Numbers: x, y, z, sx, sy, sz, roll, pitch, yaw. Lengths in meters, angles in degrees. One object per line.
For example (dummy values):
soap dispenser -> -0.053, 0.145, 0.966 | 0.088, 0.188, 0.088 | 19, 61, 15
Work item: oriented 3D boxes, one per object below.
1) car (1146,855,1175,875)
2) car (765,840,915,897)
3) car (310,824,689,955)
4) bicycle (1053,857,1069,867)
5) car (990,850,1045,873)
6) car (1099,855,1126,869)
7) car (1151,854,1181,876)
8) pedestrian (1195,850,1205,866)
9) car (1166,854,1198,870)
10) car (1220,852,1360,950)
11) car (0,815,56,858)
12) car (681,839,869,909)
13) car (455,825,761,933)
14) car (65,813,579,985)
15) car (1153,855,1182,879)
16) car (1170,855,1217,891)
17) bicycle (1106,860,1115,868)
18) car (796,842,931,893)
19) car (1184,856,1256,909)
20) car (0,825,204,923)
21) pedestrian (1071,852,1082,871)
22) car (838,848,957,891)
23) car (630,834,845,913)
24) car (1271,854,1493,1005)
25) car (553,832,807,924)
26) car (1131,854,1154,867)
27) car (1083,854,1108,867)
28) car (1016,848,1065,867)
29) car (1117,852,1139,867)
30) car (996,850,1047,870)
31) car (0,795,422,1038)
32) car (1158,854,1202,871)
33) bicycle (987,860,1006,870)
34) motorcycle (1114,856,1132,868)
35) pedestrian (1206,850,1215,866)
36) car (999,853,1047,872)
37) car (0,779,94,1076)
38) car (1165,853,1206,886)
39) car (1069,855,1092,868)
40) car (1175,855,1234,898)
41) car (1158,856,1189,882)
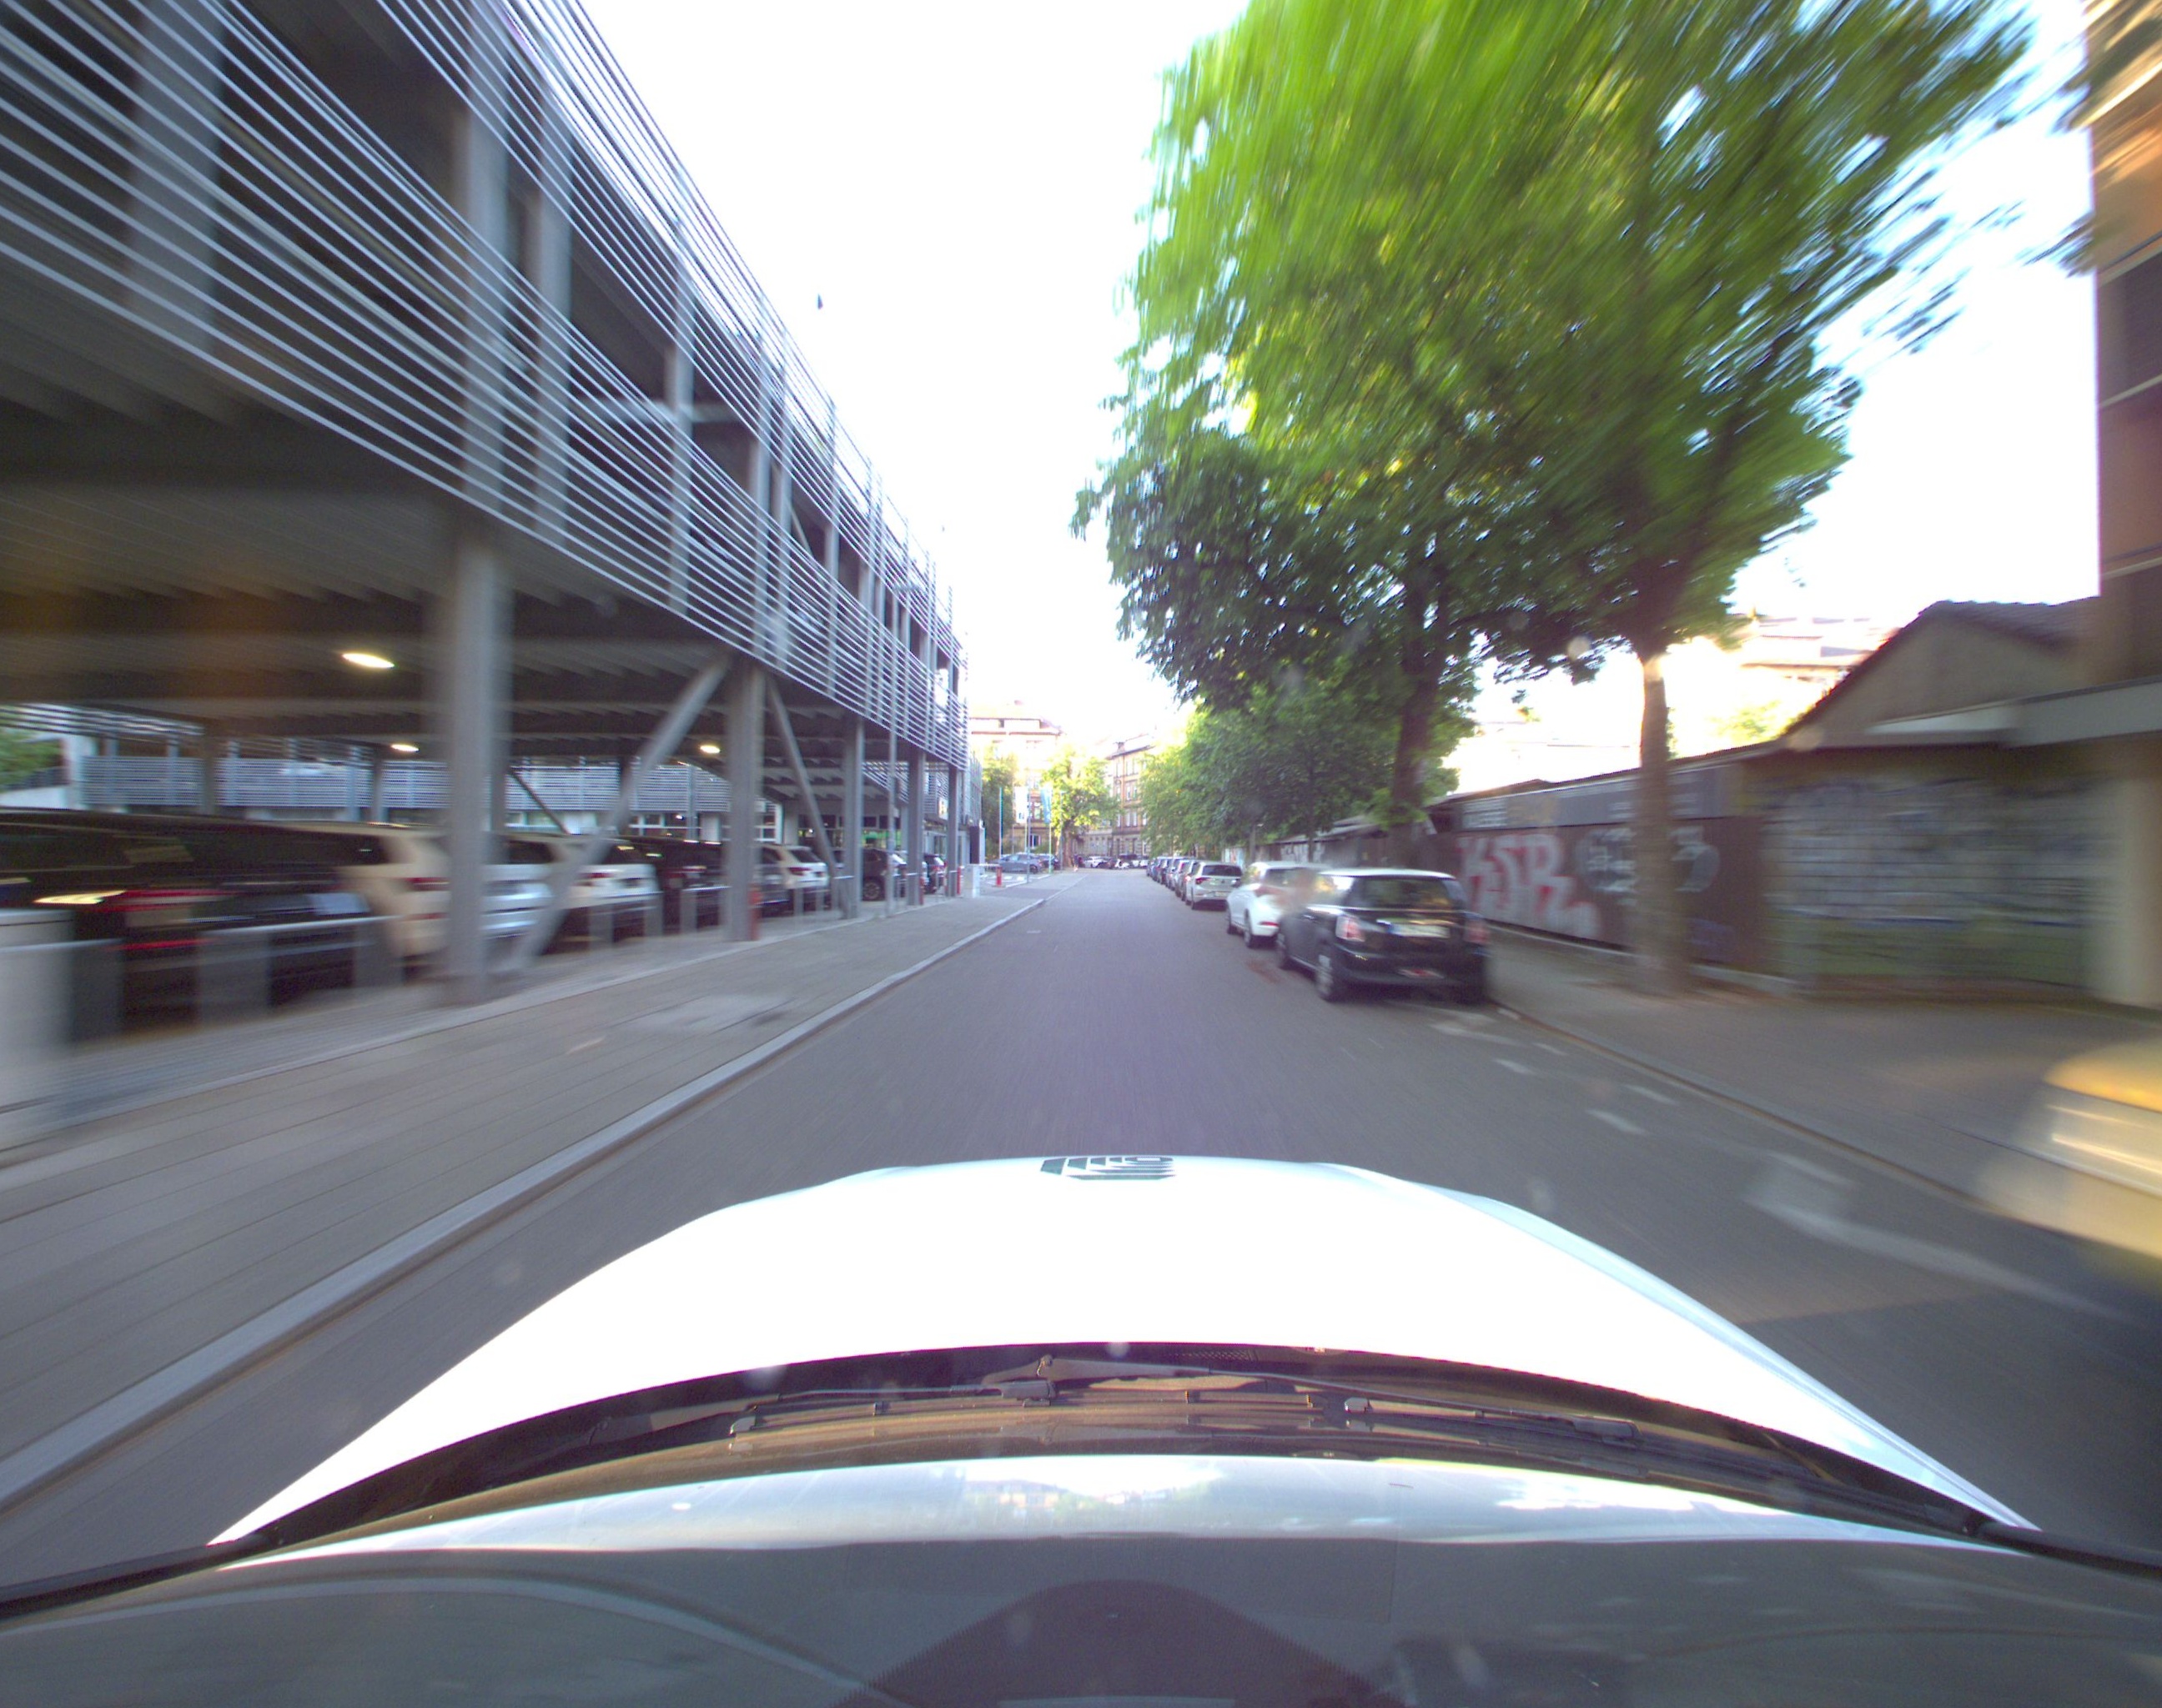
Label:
car -> 6.035, 0.851, 62.317 | 1.690, 1.477, 4.209 | 0, 0, -2
car -> -7.469, 0.421, 25.485 | 4.069, 1.684, 1.862 | 0, 1, 3
car -> -8.040, 0.440, 11.525 | 4.066, 1.684, 1.862 | 0, 1, 3
bicycle -> -2.094, 0.839, 85.546 | 1.678, 1.028, 0.442 | 0, 1, -22
car -> -4.978, 0.573, 64.138 | 4.115, 1.618, 1.913 | 2, 1, 0
car -> 3.640, 0.930, 94.103 | 1.661, 1.431, 3.962 | 1, 1, -21
car -> 6.023, 0.767, 57.905 | 1.690, 1.477, 3.558 | 0, 0, -1
pedestrian -> 13.609, 0.411, 93.268 | 0.842, 1.804, 0.771 | 0, 1, -18
car -> 11.123, 0.876, 90.290 | 1.921, 1.525, 3.869 | 1, 1, -21
car -> 3.703, 0.744, 15.100 | 1.715, 1.519, 4.028 | 0, 1, 2
car -> -40.721, -0.660, 29.235 | 2.290, 1.574, 4.386 | 1, 0, -1
car -> -7.704, 0.466, 20.777 | 4.047, 1.684, 1.862 | 0, 1, 3
car -> -7.829, 0.369, 13.752 | 4.085, 1.684, 1.862 | 0, 1, 3
car -> -8.122, 0.420, 8.993 | 4.008, 1.684, 1.862 | 0, 1, 3
car -> 5.615, 0.828, 53.167 | 1.688, 1.477, 4.120 | 0, 0, 3
car -> 4.963, 0.800, 36.366 | 1.752, 1.441, 3.876 | 0, 1, 3
bicycle -> 3.202, 1.131, 88.654 | 0.421, 0.822, 1.470 | 0, 1, 25
car -> -7.373, 0.426, 27.913 | 4.062, 1.684, 1.862 | 0, 1, 3
car -> 4.250, 0.827, 25.451 | 1.752, 1.442, 4.008 | 0, 1, 3
car -> -17.794, 0.289, 13.702 | 4.187, 1.520, 1.862 | 0, 1, 3
pedestrian -> -0.429, 0.678, 78.205 | 0.737, 1.804, 1.115 | 0, 1, -18
car -> -6.805, 0.589, 30.521 | 3.973, 1.586, 1.860 | 0, -2, 0
car -> -7.715, 0.408, 18.569 | 4.085, 1.684, 1.862 | 0, 1, 3
car -> 3.419, 0.758, 9.898 | 1.557, 1.450, 3.456 | 0, 1, 2
car -> -7.811, 0.427, 16.133 | 4.085, 1.684, 1.862 | 0, 1, 3
car -> 7.482, 0.759, 98.930 | 1.681, 1.525, 2.747 | 1, 0, -21
car -> 1.734, 0.786, 98.478 | 1.660, 1.431, 4.140 | 1, 1, -19
car -> -4.127, 0.340, 82.973 | 4.819, 1.732, 1.918 | 1, 1, -4
car -> 5.883, 0.712, 102.516 | 1.681, 1.782, 2.993 | 1, 0, -21
car -> -4.903, 0.505, 67.147 | 4.053, 1.618, 1.765 | 0, 1, 0
car -> -8.184, 0.413, 6.659 | 4.131, 1.684, 1.862 | 0, 1, 3
car -> 9.007, 0.721, 74.065 | 3.994, 1.466, 1.859 | 0, 1, -44
bicycle -> -8.659, 1.107, 83.198 | 1.862, 1.028, 0.442 | 0, 1, -22
motorcycle -> 4.655, 0.859, 90.715 | 1.930, 1.340, 0.576 | 0, 1, -8
pedestrian -> 14.450, 0.448, 90.995 | 0.774, 1.804, 0.840 | 0, 1, -12
car -> -5.041, 0.737, 71.522 | 4.034, 1.475, 1.920 | 2, 1, -2
car -> -8.180, 0.419, 4.212 | 4.018, 1.684, 1.862 | 0, 1, 3
car -> 5.265, 0.763, 41.457 | 1.752, 1.604, 3.876 | 0, 0, 3
car -> -0.081, 0.929, 103.090 | 1.661, 1.431, 3.868 | 1, 1, -21
car -> 4.542, 0.791, 30.436 | 1.752, 1.454, 4.395 | 0, 0, 3
car -> 5.441, 0.875, 48.460 | 1.590, 1.477, 3.776 | 0, 0, 3
